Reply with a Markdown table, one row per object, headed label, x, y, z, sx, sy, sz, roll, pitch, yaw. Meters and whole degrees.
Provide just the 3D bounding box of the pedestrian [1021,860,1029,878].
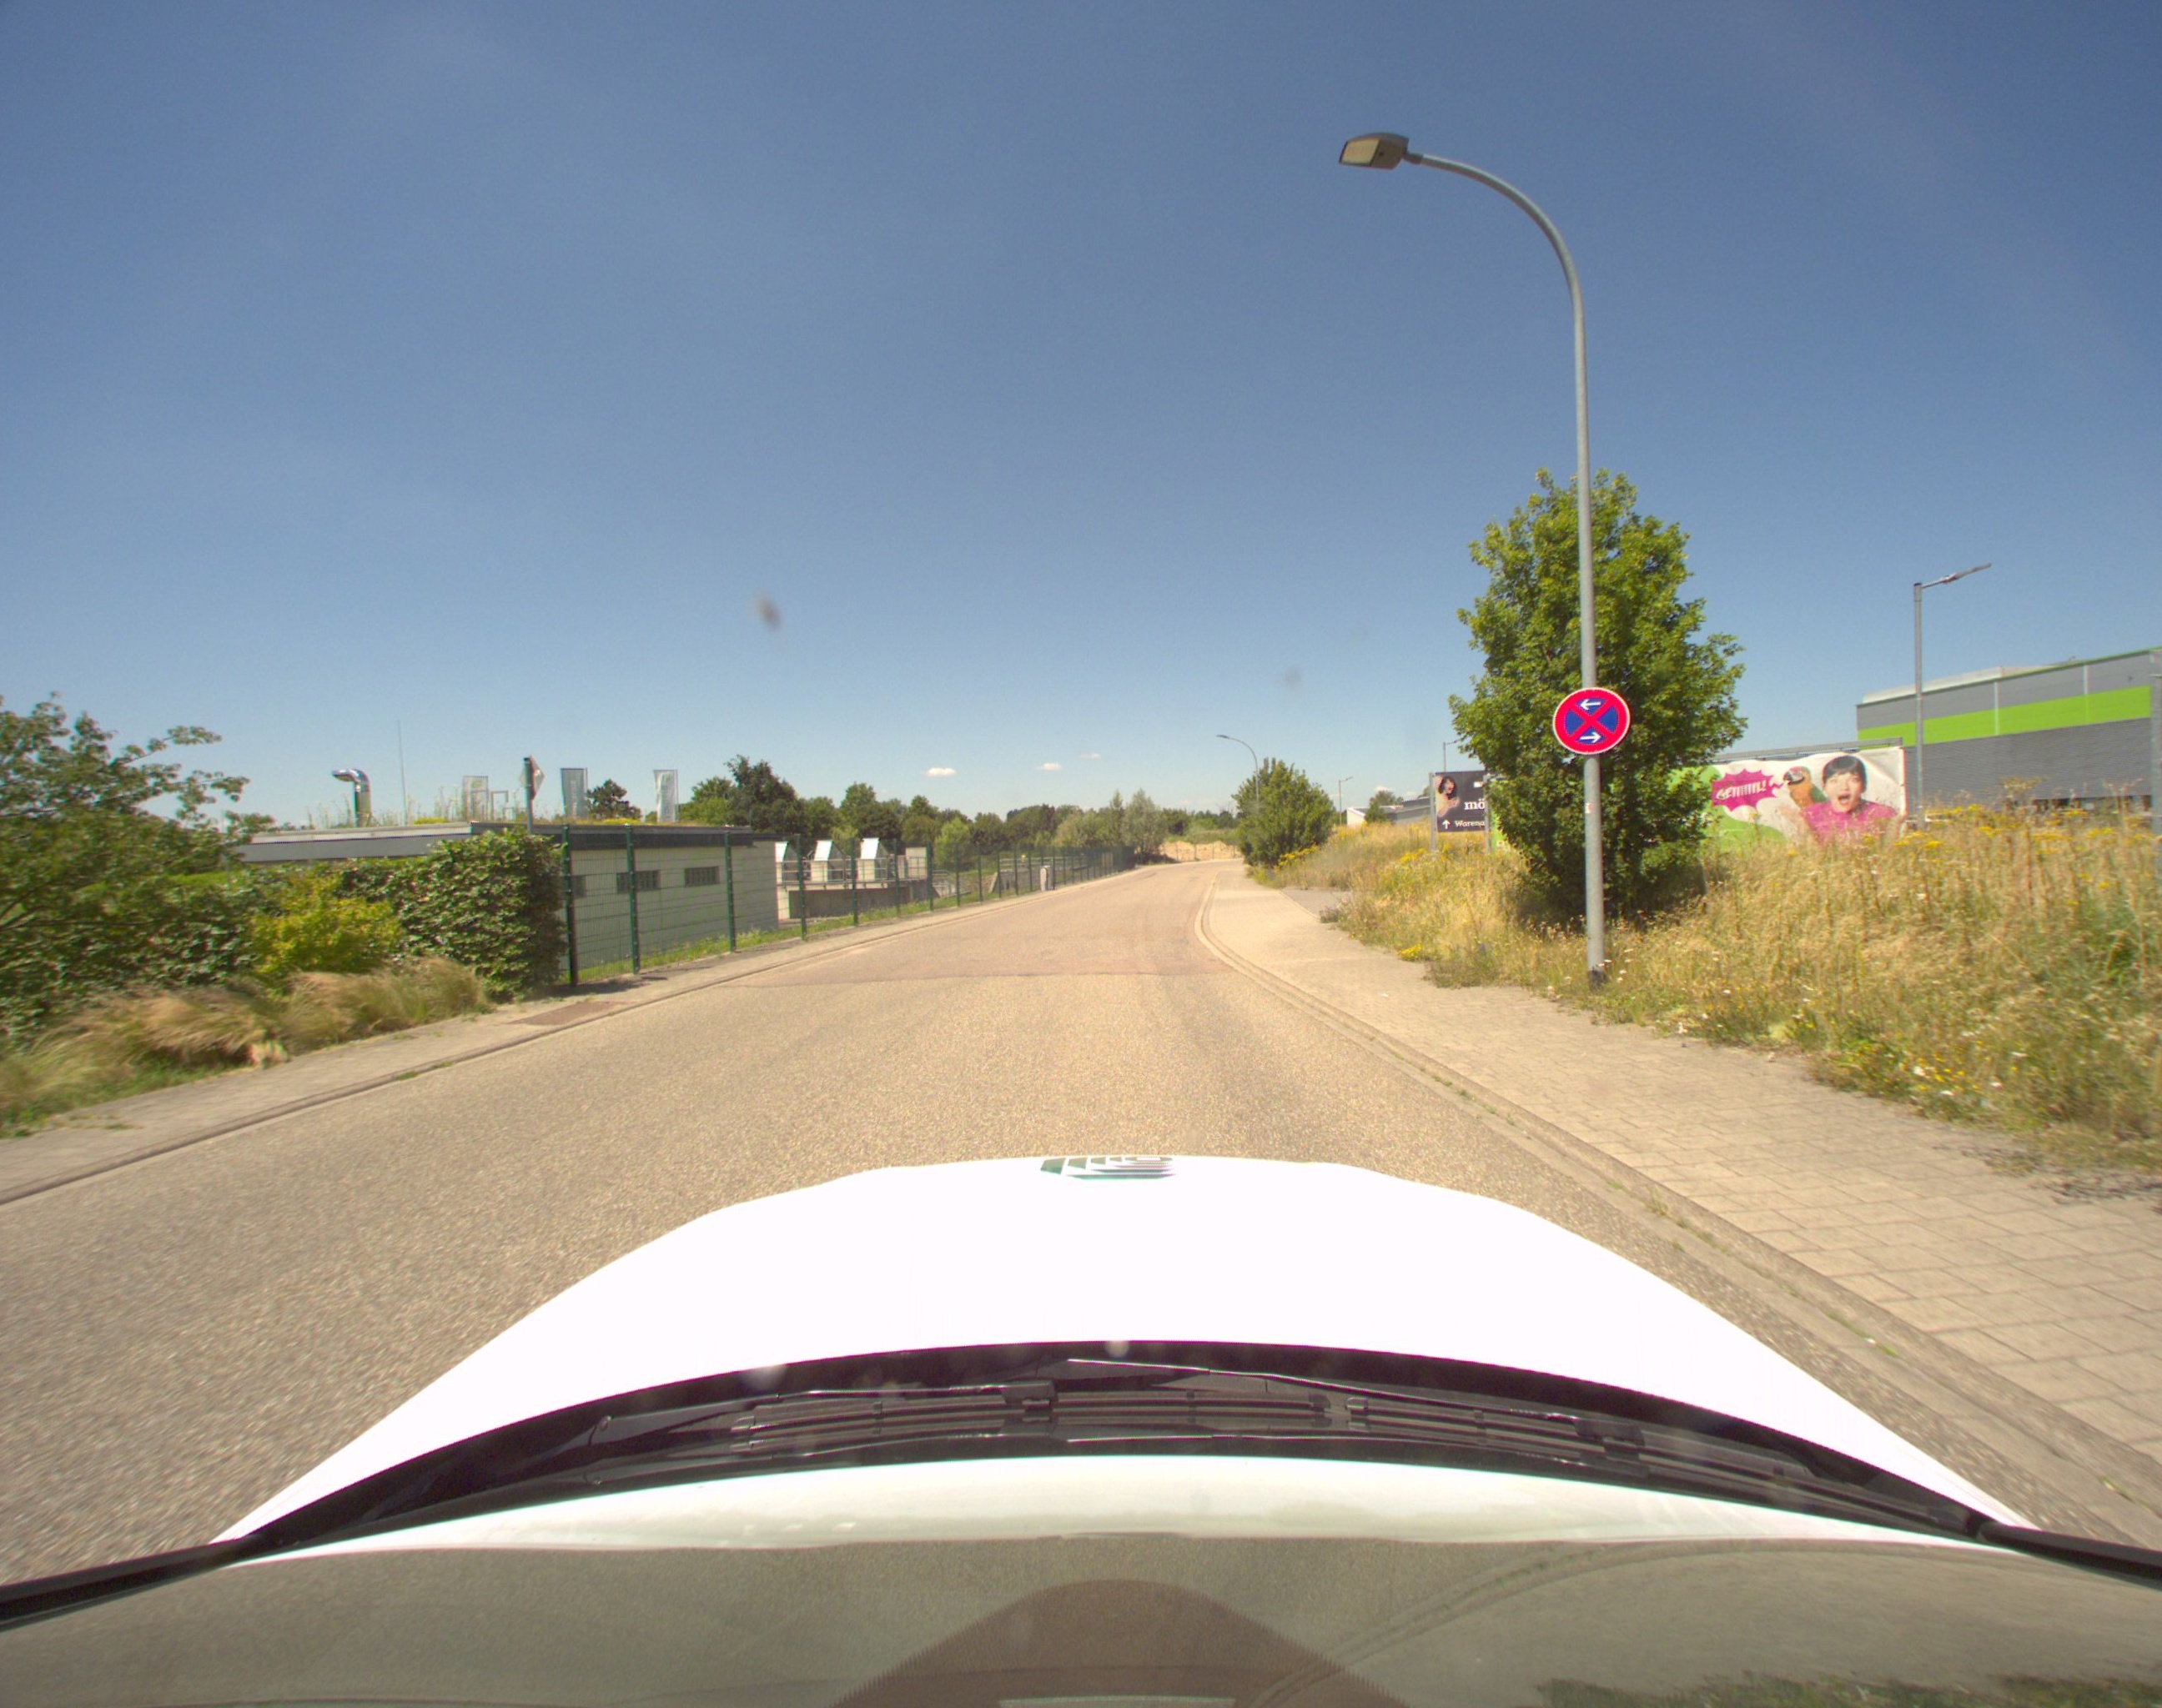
| label | x | y | z | sx | sy | sz | roll | pitch | yaw |
| --- | --- | --- | --- | --- | --- | --- | --- | --- | --- |
| pedestrian | -5.951 | 1.586 | 86.878 | 0.602 | 1.839 | 0.807 | -3 | 0 | 8 |
